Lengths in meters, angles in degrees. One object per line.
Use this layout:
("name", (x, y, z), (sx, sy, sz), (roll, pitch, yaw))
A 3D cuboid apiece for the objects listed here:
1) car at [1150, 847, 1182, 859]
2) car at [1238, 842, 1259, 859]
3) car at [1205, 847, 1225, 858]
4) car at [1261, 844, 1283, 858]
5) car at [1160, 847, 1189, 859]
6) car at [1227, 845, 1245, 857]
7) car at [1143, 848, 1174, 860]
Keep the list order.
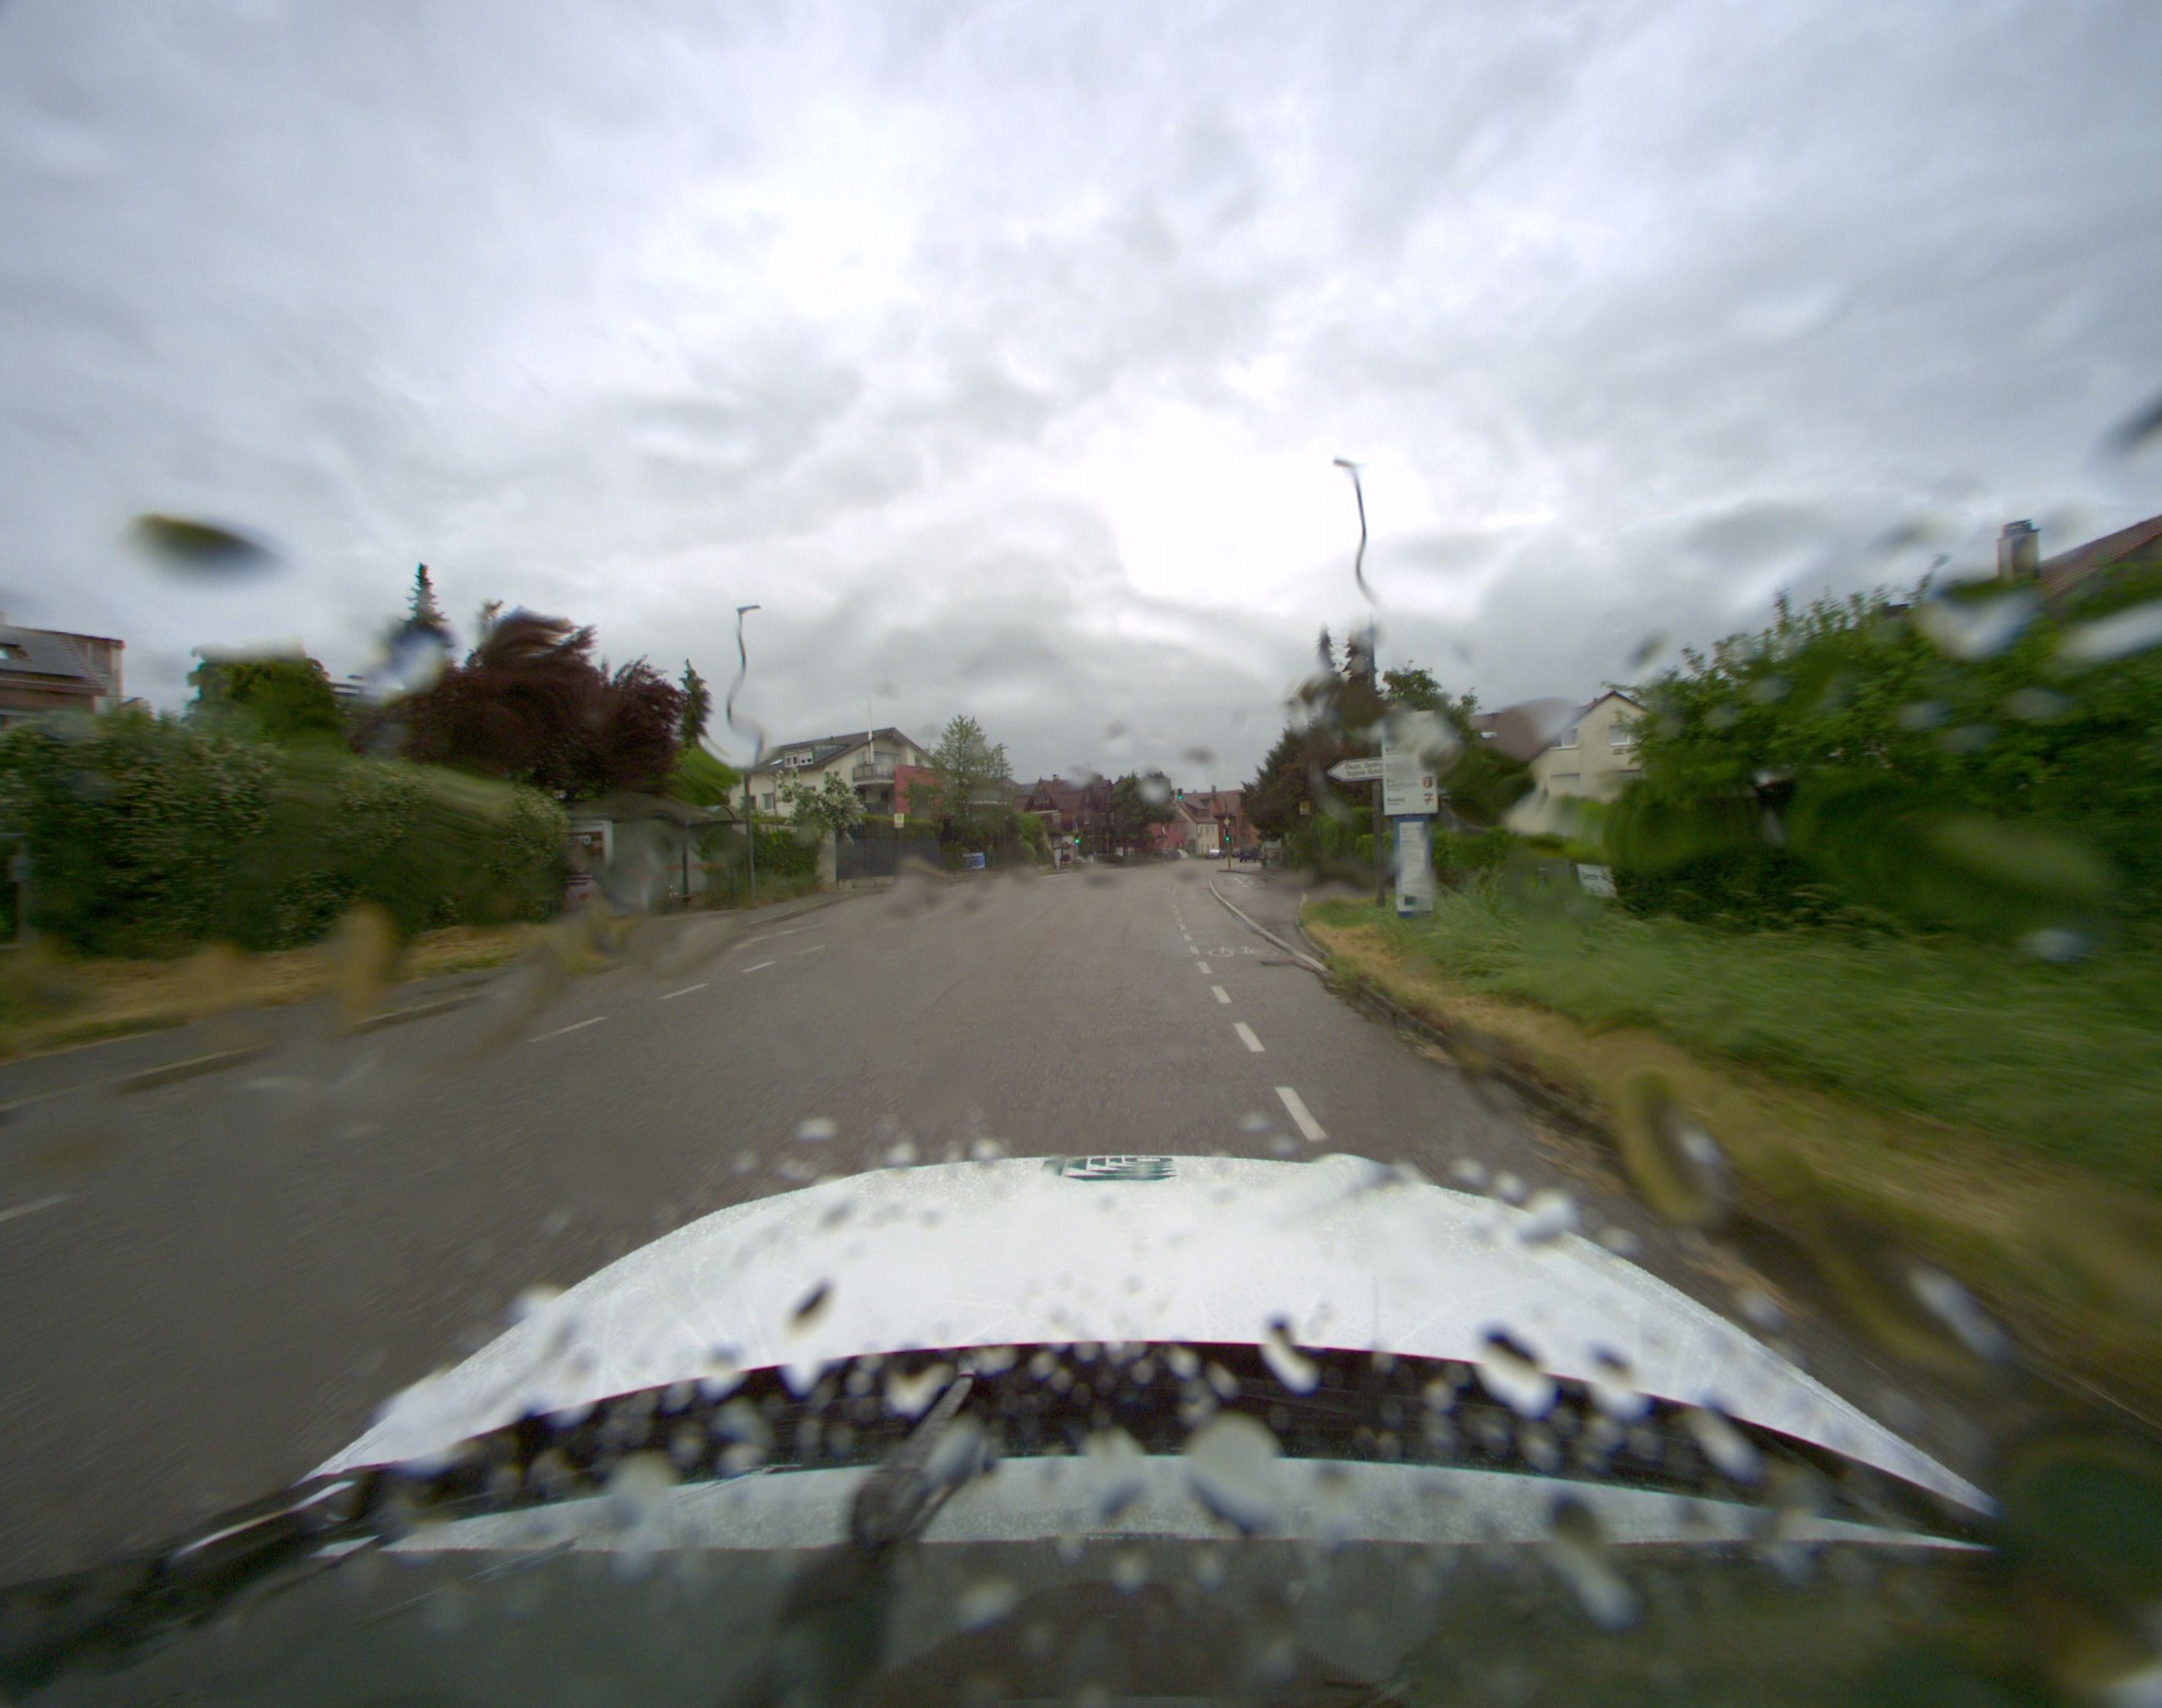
("car", (11.013, -0.146, 105.569), (3.541, 1.506, 1.867), (0, 1, 32))
("car", (19.645, -0.451, 95.295), (1.915, 1.902, 4.816), (-1, 0, 18))
("car", (18.299, -0.211, 111.088), (1.611, 1.355, 4.135), (0, 1, 27))
("car", (25.771, -0.407, 109.765), (1.891, 1.717, 4.584), (0, 1, 28))
("car", (12.446, -0.130, 108.419), (3.428, 1.479, 1.601), (-3, 0, 30))
("car", (22.921, -0.427, 120.528), (1.590, 1.617, 3.296), (-3, 0, 28))
("car", (9.857, -0.030, 103.620), (3.413, 1.418, 1.643), (-3, 0, 30))
